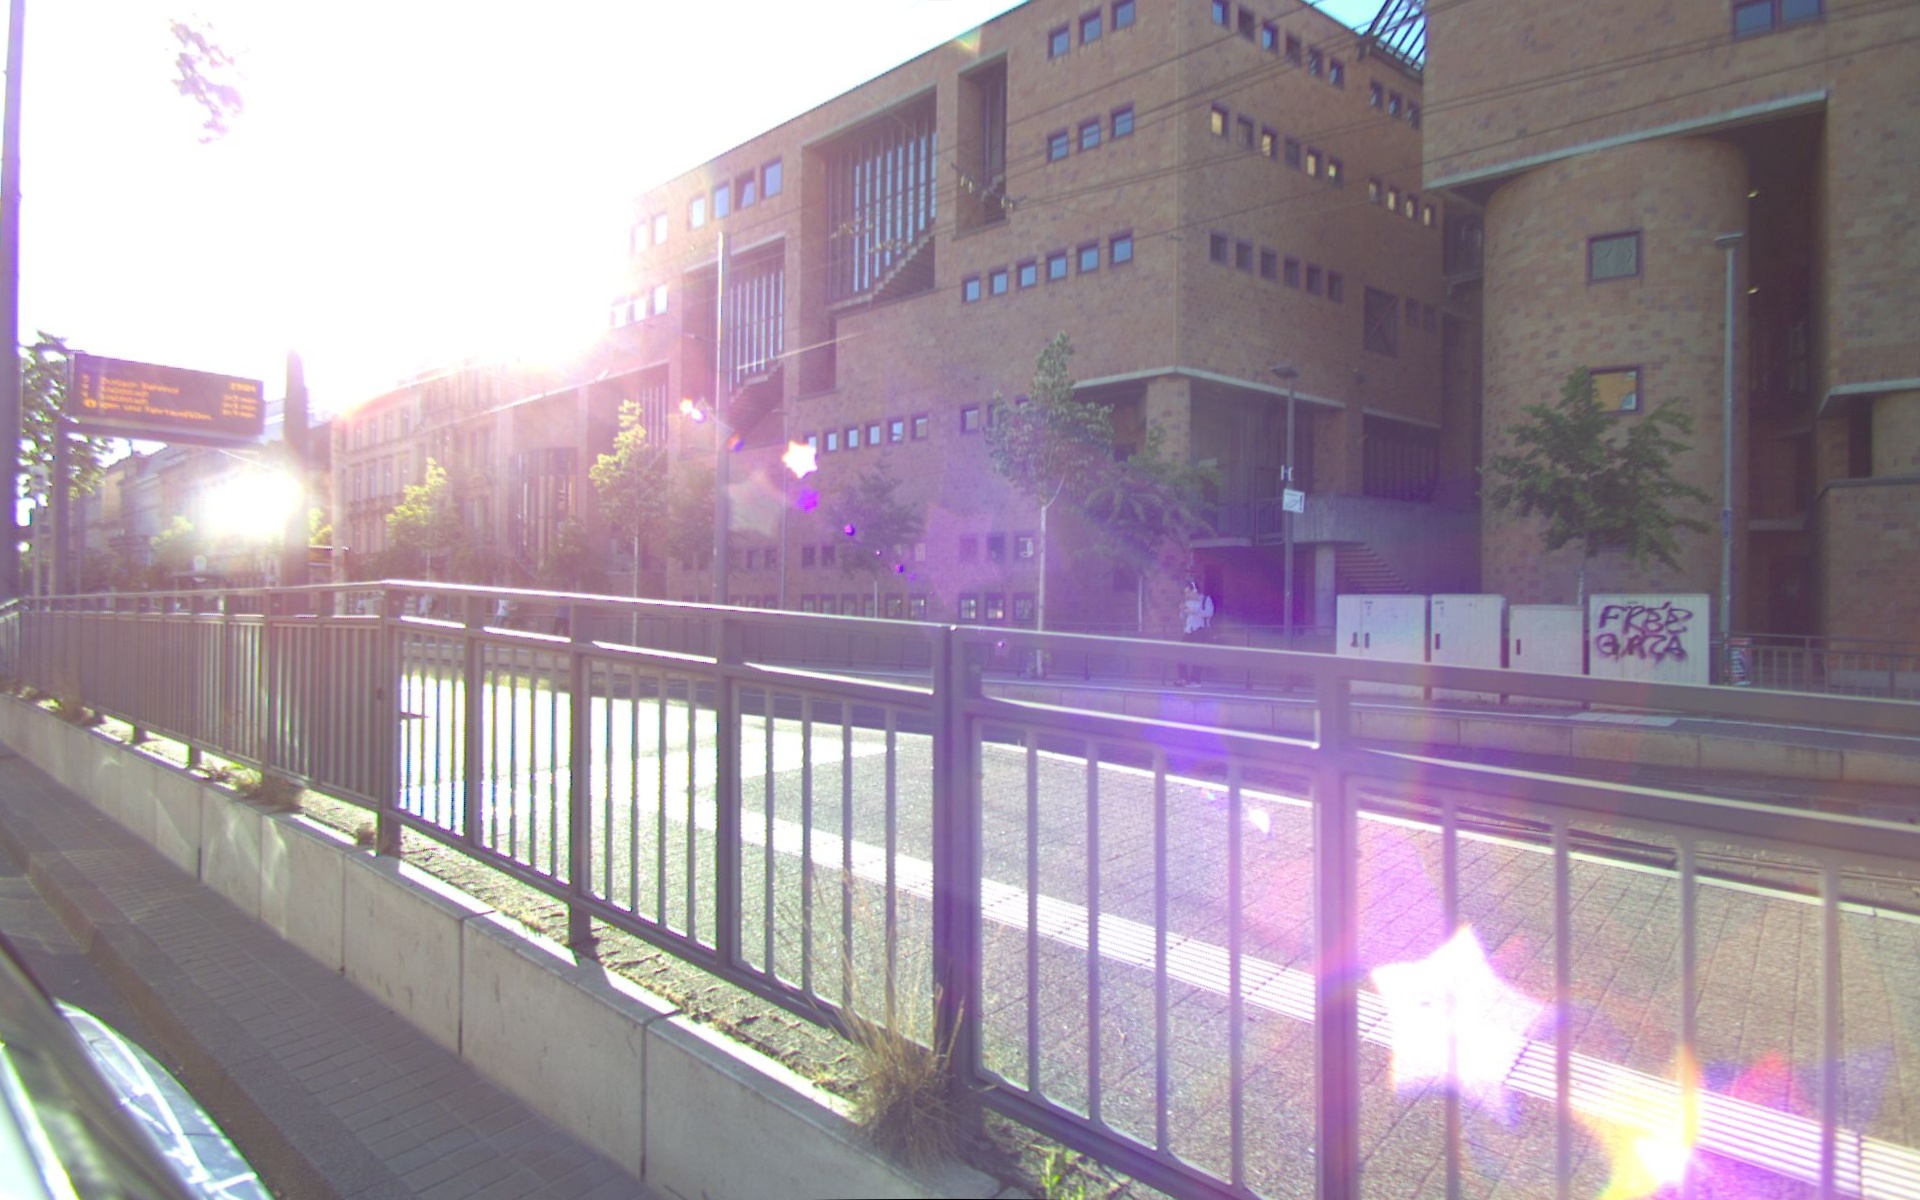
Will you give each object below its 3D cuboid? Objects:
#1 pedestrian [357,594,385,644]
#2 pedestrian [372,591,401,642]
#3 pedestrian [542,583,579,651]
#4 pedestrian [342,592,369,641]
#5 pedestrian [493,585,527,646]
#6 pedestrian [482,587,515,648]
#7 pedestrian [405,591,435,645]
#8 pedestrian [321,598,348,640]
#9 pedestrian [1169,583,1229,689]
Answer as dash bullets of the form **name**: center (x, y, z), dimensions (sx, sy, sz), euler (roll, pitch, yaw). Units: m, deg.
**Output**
- **pedestrian**: center (-20.962, 0.687, 36.030), dimensions (0.586, 1.755, 0.684), euler (-1, -2, 38)
- **pedestrian**: center (-19.929, 0.587, 35.156), dimensions (0.586, 1.755, 0.684), euler (-1, -2, 38)
- **pedestrian**: center (-10.405, 0.446, 26.355), dimensions (0.586, 1.755, 0.684), euler (-1, -2, 38)
- **pedestrian**: center (-21.994, 0.591, 36.815), dimensions (0.586, 1.755, 0.684), euler (-1, -2, 38)
- **pedestrian**: center (-13.011, 0.445, 29.278), dimensions (0.586, 1.755, 0.684), euler (-1, -2, 38)
- **pedestrian**: center (-13.561, 0.520, 29.721), dimensions (0.586, 1.755, 0.684), euler (-1, -2, 38)
- **pedestrian**: center (-17.780, 0.583, 33.334), dimensions (0.586, 1.755, 0.684), euler (-1, -2, 38)
- **pedestrian**: center (-23.887, 0.734, 38.641), dimensions (0.586, 1.587, 0.684), euler (-1, -2, 38)
- **pedestrian**: center (3.620, 0.535, 15.293), dimensions (0.653, 1.546, 0.693), euler (-1, -1, 38)
